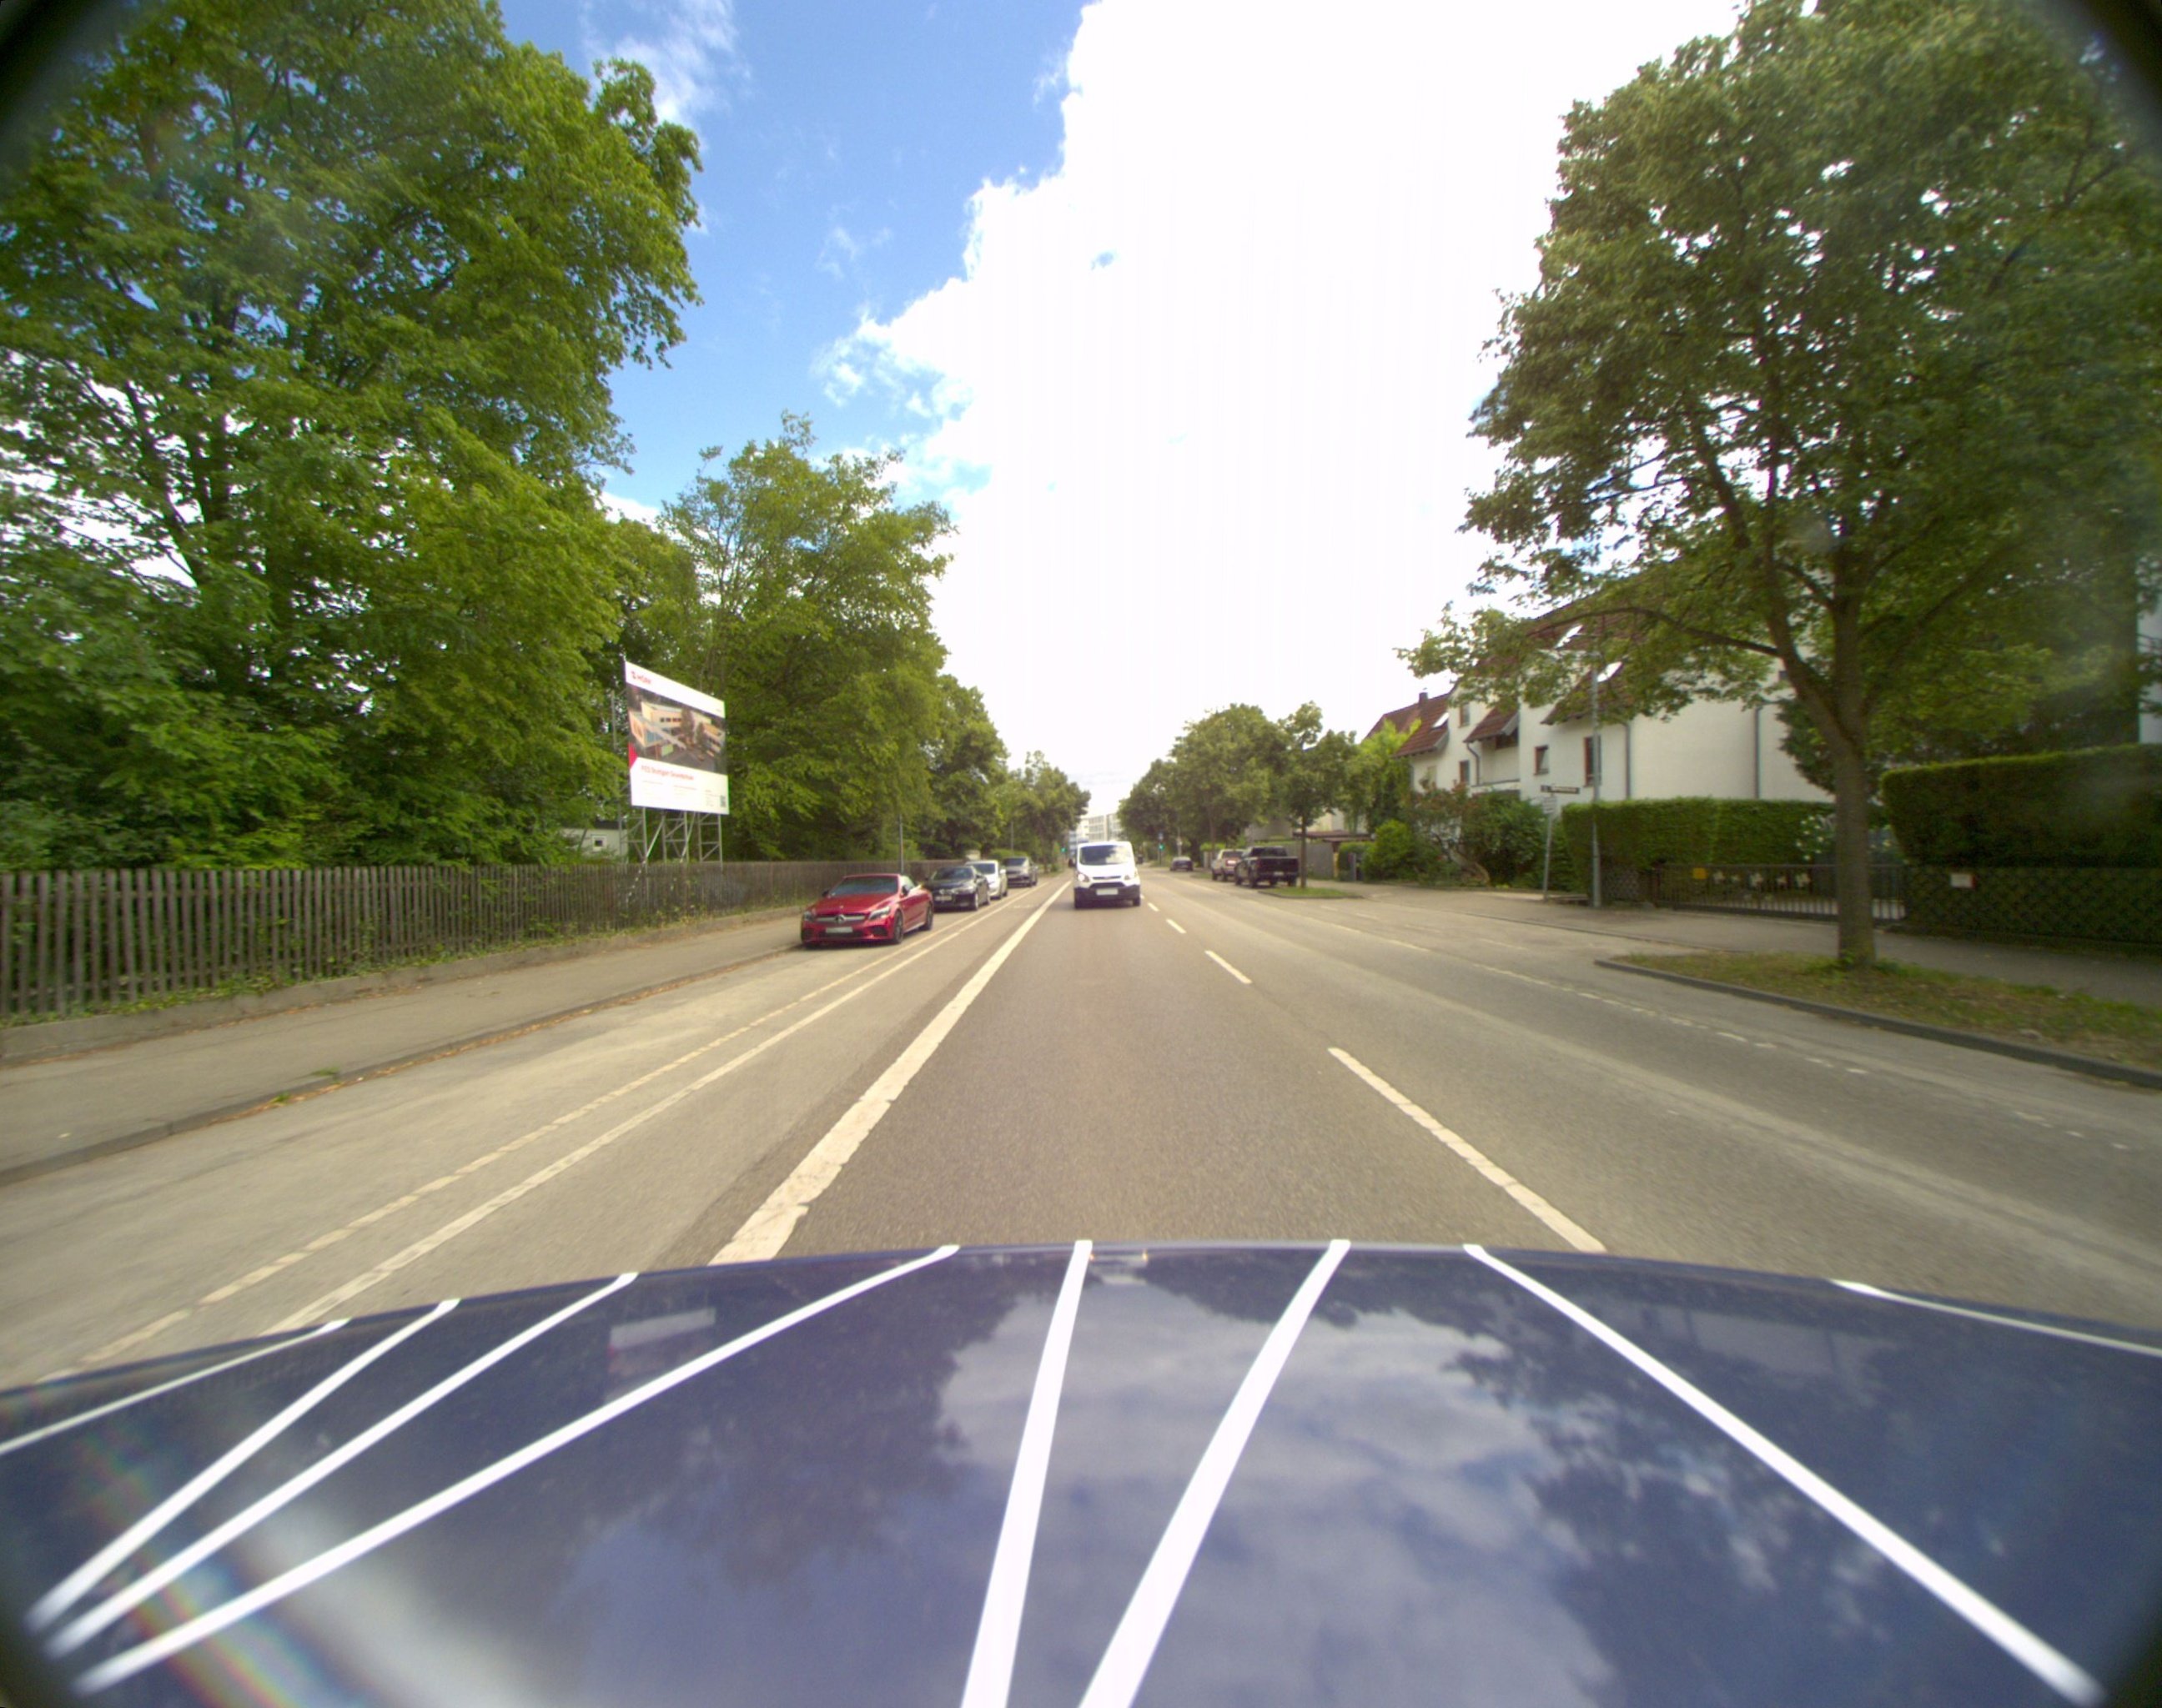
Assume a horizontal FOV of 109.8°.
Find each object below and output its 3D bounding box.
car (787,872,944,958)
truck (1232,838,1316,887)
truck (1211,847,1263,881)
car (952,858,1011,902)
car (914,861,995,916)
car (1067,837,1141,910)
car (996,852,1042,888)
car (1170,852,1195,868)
[{"bbox_3d":[-4.342,1.164,16.077,1.864,1.405,4.444,-3,0,2],"label":"car"},{"bbox_3d":[8.886,0.359,35.671,2.429,2.031,5.995,-1,0,1],"label":"truck"},{"bbox_3d":[8.870,0.523,43.602,1.971,1.857,5.664,0,0,2],"label":"truck"},{"bbox_3d":[-4.016,1.000,31.343,1.867,1.580,4.421,-2,0,-1],"label":"car"},{"bbox_3d":[-4.104,1.071,25.375,1.820,1.506,4.679,-3,1,1],"label":"car"},{"bbox_3d":[0.732,0.534,24.295,1.998,2.002,5.188,-3,1,2],"label":"car"},{"bbox_3d":[-3.462,0.867,43.258,1.998,1.805,4.827,-2,1,2],"label":"car"},{"bbox_3d":[9.605,0.550,72.142,1.750,1.400,4.927,0,0,1],"label":"car"}]
